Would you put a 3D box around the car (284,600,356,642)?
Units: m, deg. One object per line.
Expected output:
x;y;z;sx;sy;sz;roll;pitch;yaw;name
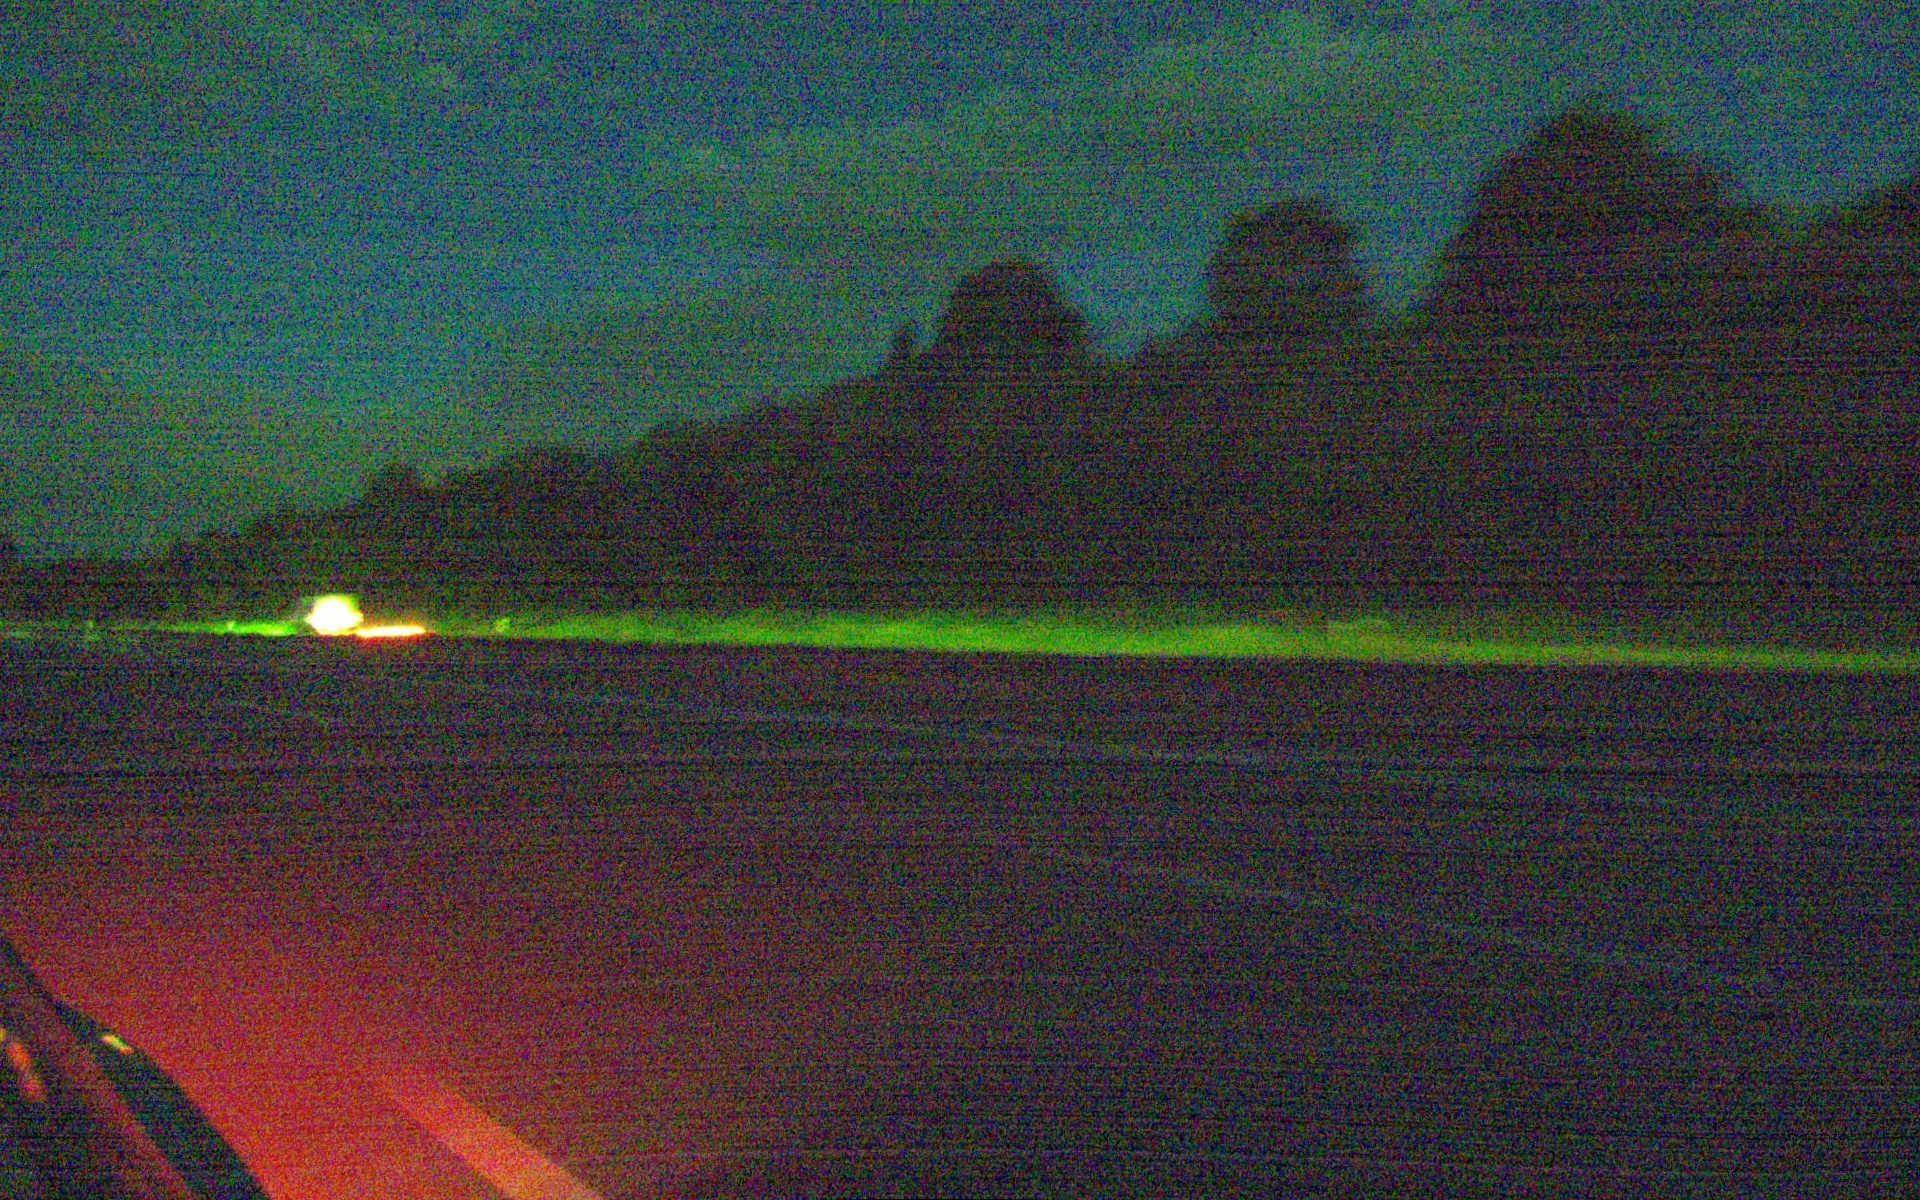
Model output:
-40.252;1.307;63.595;6.238;2.506;2.061;-1;-1;40;car

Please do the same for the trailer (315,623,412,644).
-34.808;1.908;58.941;8.071;1.112;2.390;-1;0;41;trailer
